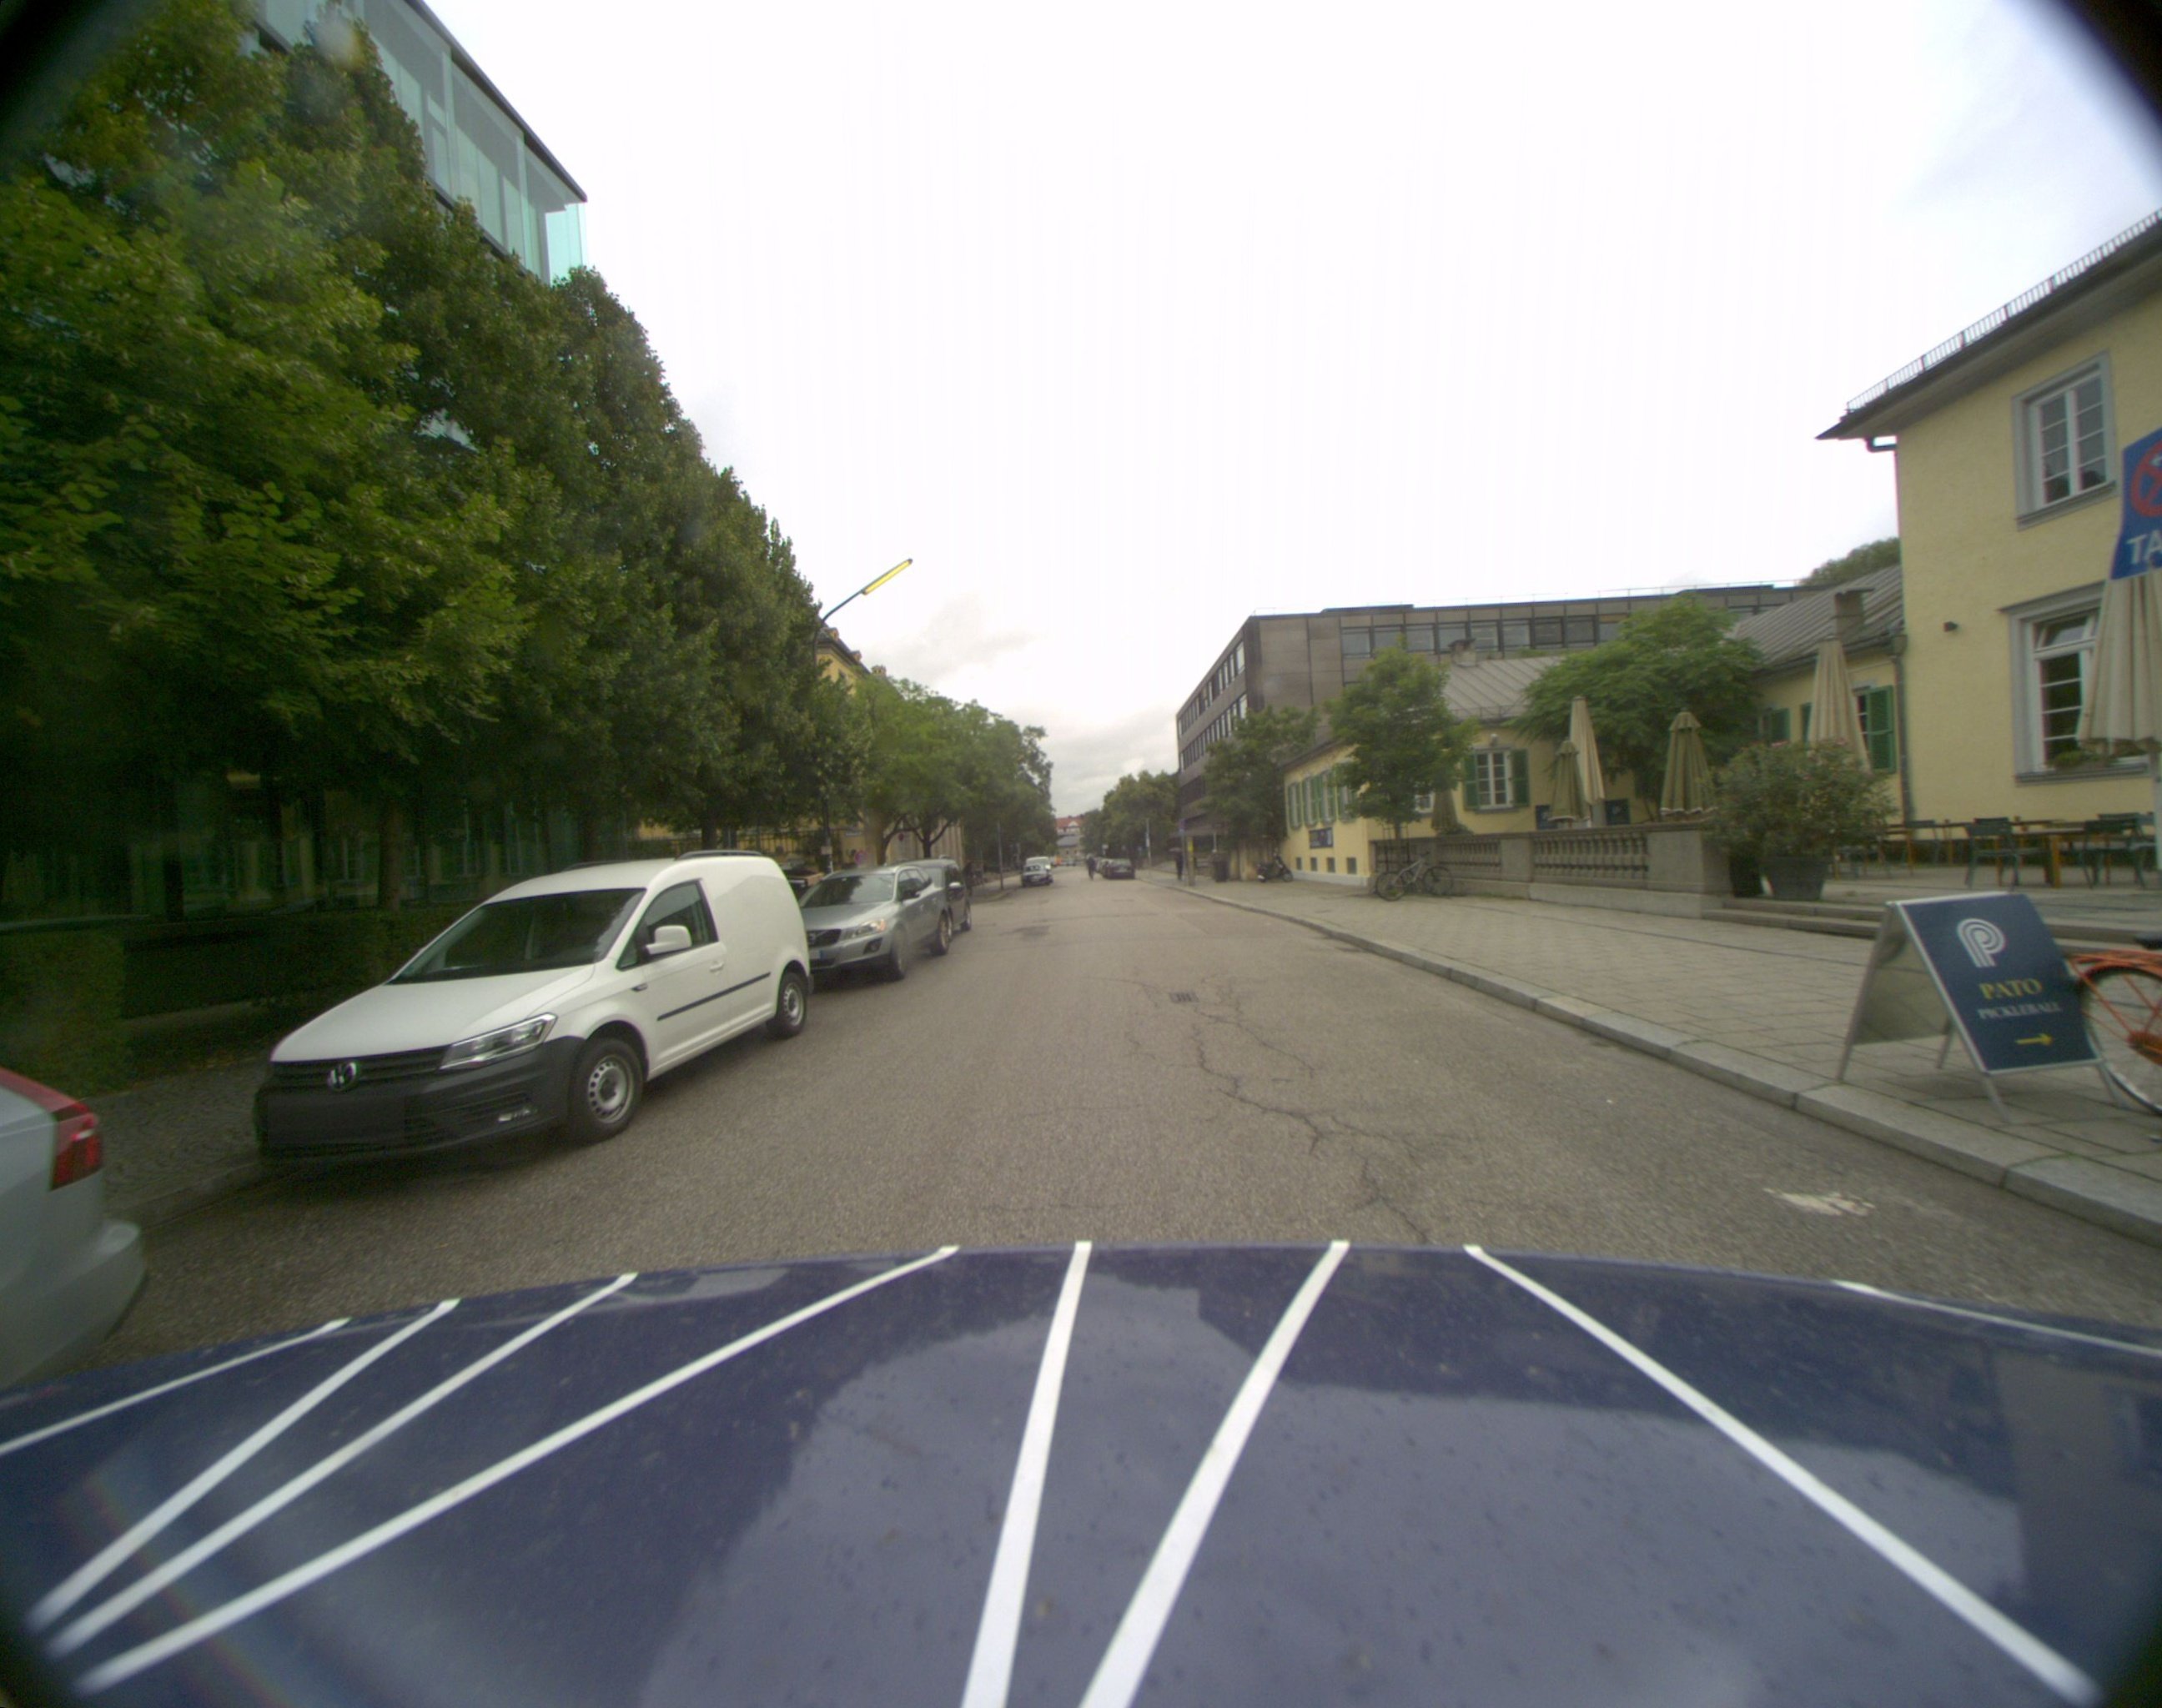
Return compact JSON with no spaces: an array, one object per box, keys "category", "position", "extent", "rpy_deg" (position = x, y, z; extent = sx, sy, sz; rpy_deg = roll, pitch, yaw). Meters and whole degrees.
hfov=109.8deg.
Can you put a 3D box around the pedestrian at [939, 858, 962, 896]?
[{"category":"pedestrian","position":[-6.375,1.108,37.085],"extent":[0.691,1.775,0.893],"rpy_deg":[-5,1,-35]}]

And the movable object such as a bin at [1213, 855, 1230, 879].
[{"category":"movable object such as a bin","position":[6.722,0.632,36.322],"extent":[0.615,1.102,0.460],"rpy_deg":[-5,1,-1]}]

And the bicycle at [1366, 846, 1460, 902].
[{"category":"bicycle","position":[7.665,0.456,17.570],"extent":[1.847,1.028,0.466],"rpy_deg":[-8,0,2]}]

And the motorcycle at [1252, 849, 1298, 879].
[{"category":"motorcycle","position":[8.011,0.416,31.361],"extent":[1.664,1.106,0.591],"rpy_deg":[-6,2,43]}]

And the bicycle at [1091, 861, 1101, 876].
[{"category":"bicycle","position":[1.043,1.046,54.842],"extent":[0.607,1.014,2.308],"rpy_deg":[-1,0,-1]}]

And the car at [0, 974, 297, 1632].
[{"category":"car","position":[-3.794,1.269,0.116],"extent":[1.952,1.543,5.005],"rpy_deg":[-5,0,2]}]

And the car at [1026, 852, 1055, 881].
[{"category":"car","position":[-2.896,0.870,55.606],"extent":[1.830,1.884,4.486],"rpy_deg":[-5,0,-1]}]

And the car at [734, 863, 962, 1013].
[{"category":"car","position":[-3.329,1.092,12.025],"extent":[1.872,1.681,4.785],"rpy_deg":[-5,0,2]}]

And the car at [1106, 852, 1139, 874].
[{"category":"car","position":[2.904,0.604,53.741],"extent":[1.929,1.390,4.486],"rpy_deg":[-3,0,-1]}]

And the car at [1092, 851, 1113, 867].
[{"category":"car","position":[2.196,0.477,78.470],"extent":[1.999,1.555,3.999],"rpy_deg":[-3,0,-1]}]

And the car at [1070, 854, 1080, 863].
[{"category":"car","position":[-1.430,1.144,180.983],"extent":[1.999,2.002,3.999],"rpy_deg":[-5,1,-2]}]

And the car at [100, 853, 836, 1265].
[{"category":"car","position":[-3.746,1.013,5.999],"extent":[1.788,1.884,4.574],"rpy_deg":[-5,0,3]}]

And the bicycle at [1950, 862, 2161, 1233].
[{"category":"bicycle","position":[4.485,0.753,2.789],"extent":[0.781,1.361,1.697],"rpy_deg":[-3,0,10]}]

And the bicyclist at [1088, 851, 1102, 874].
[{"category":"bicyclist","position":[0.982,0.599,54.677],"extent":[0.903,1.602,1.067],"rpy_deg":[-1,1,-1]}]

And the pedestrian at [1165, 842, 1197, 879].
[{"category":"pedestrian","position":[5.824,0.382,44.430],"extent":[1.479,2.002,1.500],"rpy_deg":[-5,1,-1]}]

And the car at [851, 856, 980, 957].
[{"category":"car","position":[-3.470,1.011,16.779],"extent":[1.815,1.797,4.347],"rpy_deg":[-5,0,-1]}]

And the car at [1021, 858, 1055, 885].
[{"category":"car","position":[-2.735,1.100,49.537],"extent":[1.958,1.494,4.486],"rpy_deg":[-5,0,-1]}]

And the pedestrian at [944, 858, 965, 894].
[{"category":"pedestrian","position":[-6.366,1.106,38.312],"extent":[0.700,1.749,0.684],"rpy_deg":[-5,1,-30]}]

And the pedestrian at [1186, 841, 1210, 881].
[{"category":"pedestrian","position":[6.219,0.360,40.509],"extent":[0.977,2.002,0.914],"rpy_deg":[-5,1,-1]}]

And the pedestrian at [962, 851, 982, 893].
[{"category":"pedestrian","position":[-5.410,0.906,37.684],"extent":[0.690,2.002,0.894],"rpy_deg":[-5,1,-15]}]
